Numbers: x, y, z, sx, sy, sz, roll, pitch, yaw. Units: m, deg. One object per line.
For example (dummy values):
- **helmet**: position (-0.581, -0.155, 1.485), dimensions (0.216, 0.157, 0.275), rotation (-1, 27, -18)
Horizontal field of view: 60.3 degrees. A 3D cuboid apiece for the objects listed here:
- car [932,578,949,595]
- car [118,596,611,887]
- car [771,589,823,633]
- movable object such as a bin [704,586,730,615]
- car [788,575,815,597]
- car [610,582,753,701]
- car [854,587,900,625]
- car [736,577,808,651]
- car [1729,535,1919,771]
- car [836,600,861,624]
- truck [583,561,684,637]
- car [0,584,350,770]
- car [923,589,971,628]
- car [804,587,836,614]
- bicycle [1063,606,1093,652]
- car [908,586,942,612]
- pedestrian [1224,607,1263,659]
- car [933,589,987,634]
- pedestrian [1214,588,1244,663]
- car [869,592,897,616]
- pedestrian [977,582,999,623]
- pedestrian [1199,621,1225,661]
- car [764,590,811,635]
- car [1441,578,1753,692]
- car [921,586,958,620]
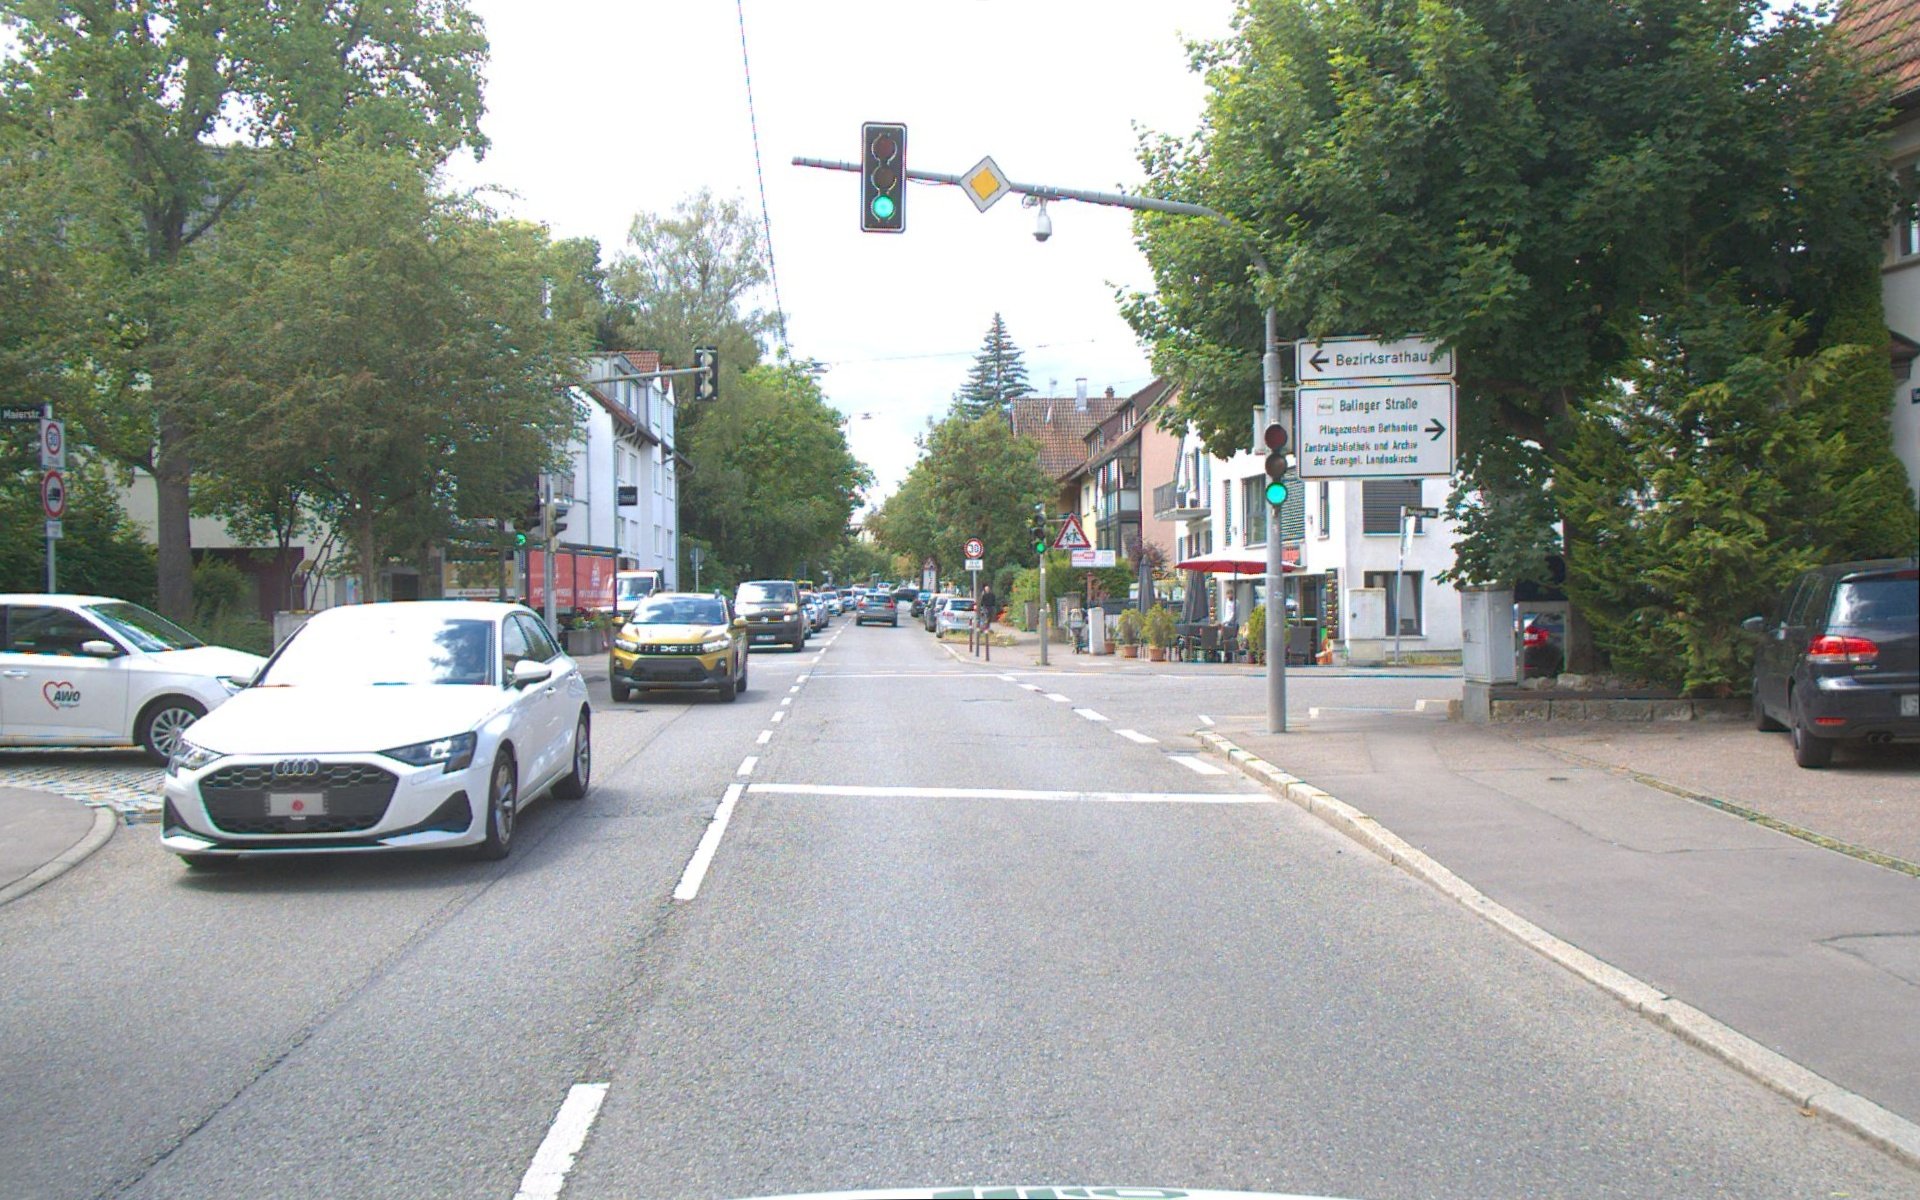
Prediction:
- **car**: position (-2.380, -1.594, 198.433), dimensions (1.953, 2.049, 3.999), rotation (0, 0, -1)
- **car**: position (-3.447, 0.707, 10.455), dimensions (1.837, 1.449, 4.112), rotation (0, 0, -3)
- **car**: position (-6.375, 0.403, 64.869), dimensions (1.770, 1.598, 4.157), rotation (-2, 0, -3)
- **movable object such as a bin**: position (-12.075, 0.036, 82.172), dimensions (1.305, 1.452, 1.211), rotation (0, 0, -9)
- **car**: position (-14.568, -1.260, 152.155), dimensions (2.102, 2.015, 4.930), rotation (0, 0, 0)
- **car**: position (-3.998, 0.536, 24.279), dimensions (1.694, 1.565, 3.997), rotation (0, 1, -4)
- **car**: position (-3.704, 0.229, 74.218), dimensions (1.936, 1.539, 4.265), rotation (3, 1, -2)
- **car**: position (-5.183, 0.343, 45.974), dimensions (1.840, 1.946, 4.747), rotation (0, 0, -5)
- **car**: position (7.363, 0.307, 13.338), dimensions (1.716, 1.543, 4.080), rotation (-4, 1, 21)
- **car**: position (-8.596, 0.945, 127.850), dimensions (1.750, 1.676, 4.488), rotation (-2, 1, -3)
- **truck**: position (-10.916, -0.017, 55.842), dimensions (2.179, 2.421, 6.325), rotation (0, 0, 0)
- **car**: position (-7.881, 0.643, 14.856), dimensions (4.128, 1.540, 1.821), rotation (0, 1, -4)
- **car**: position (-0.557, 0.326, 67.810), dimensions (1.699, 1.453, 4.880), rotation (2, 1, -3)
- **car**: position (-8.415, 0.022, 99.663), dimensions (1.725, 1.464, 3.968), rotation (-2, 1, -3)
- **bicycle**: position (3.128, 0.760, 44.050), dimensions (0.705, 1.170, 2.214), rotation (0, 0, 2)
- **car**: position (-2.081, -0.081, 98.014), dimensions (1.766, 1.470, 4.883), rotation (2, 1, -4)
- **pedestrian**: position (6.103, 0.706, 35.582), dimensions (0.560, 1.108, 0.628), rotation (0, 0, -28)
- **car**: position (-0.044, 0.383, 59.348), dimensions (1.667, 1.506, 4.870), rotation (1, 1, -3)
- **pedestrian**: position (6.498, 0.608, 39.930), dimensions (0.422, 1.793, 0.671), rotation (0, 0, -24)
- **car**: position (-5.182, 0.265, 111.255), dimensions (1.779, 1.527, 4.265), rotation (1, 1, -2)
- **pedestrian**: position (1.186, 0.099, 69.793), dimensions (0.862, 1.742, 0.842), rotation (0, 0, -2)
- **pedestrian**: position (6.051, 0.977, 39.725), dimensions (0.413, 0.954, 0.494), rotation (0, 0, -24)
- **car**: position (-5.986, 0.402, 57.681), dimensions (1.586, 1.512, 3.809), rotation (0, 0, -5)
- **car**: position (9.260, 0.457, 24.069), dimensions (4.109, 1.440, 1.769), rotation (-2, 2, -20)
- **car**: position (-0.999, 0.116, 79.220), dimensions (1.589, 1.534, 3.777), rotation (-1, 1, -3)
